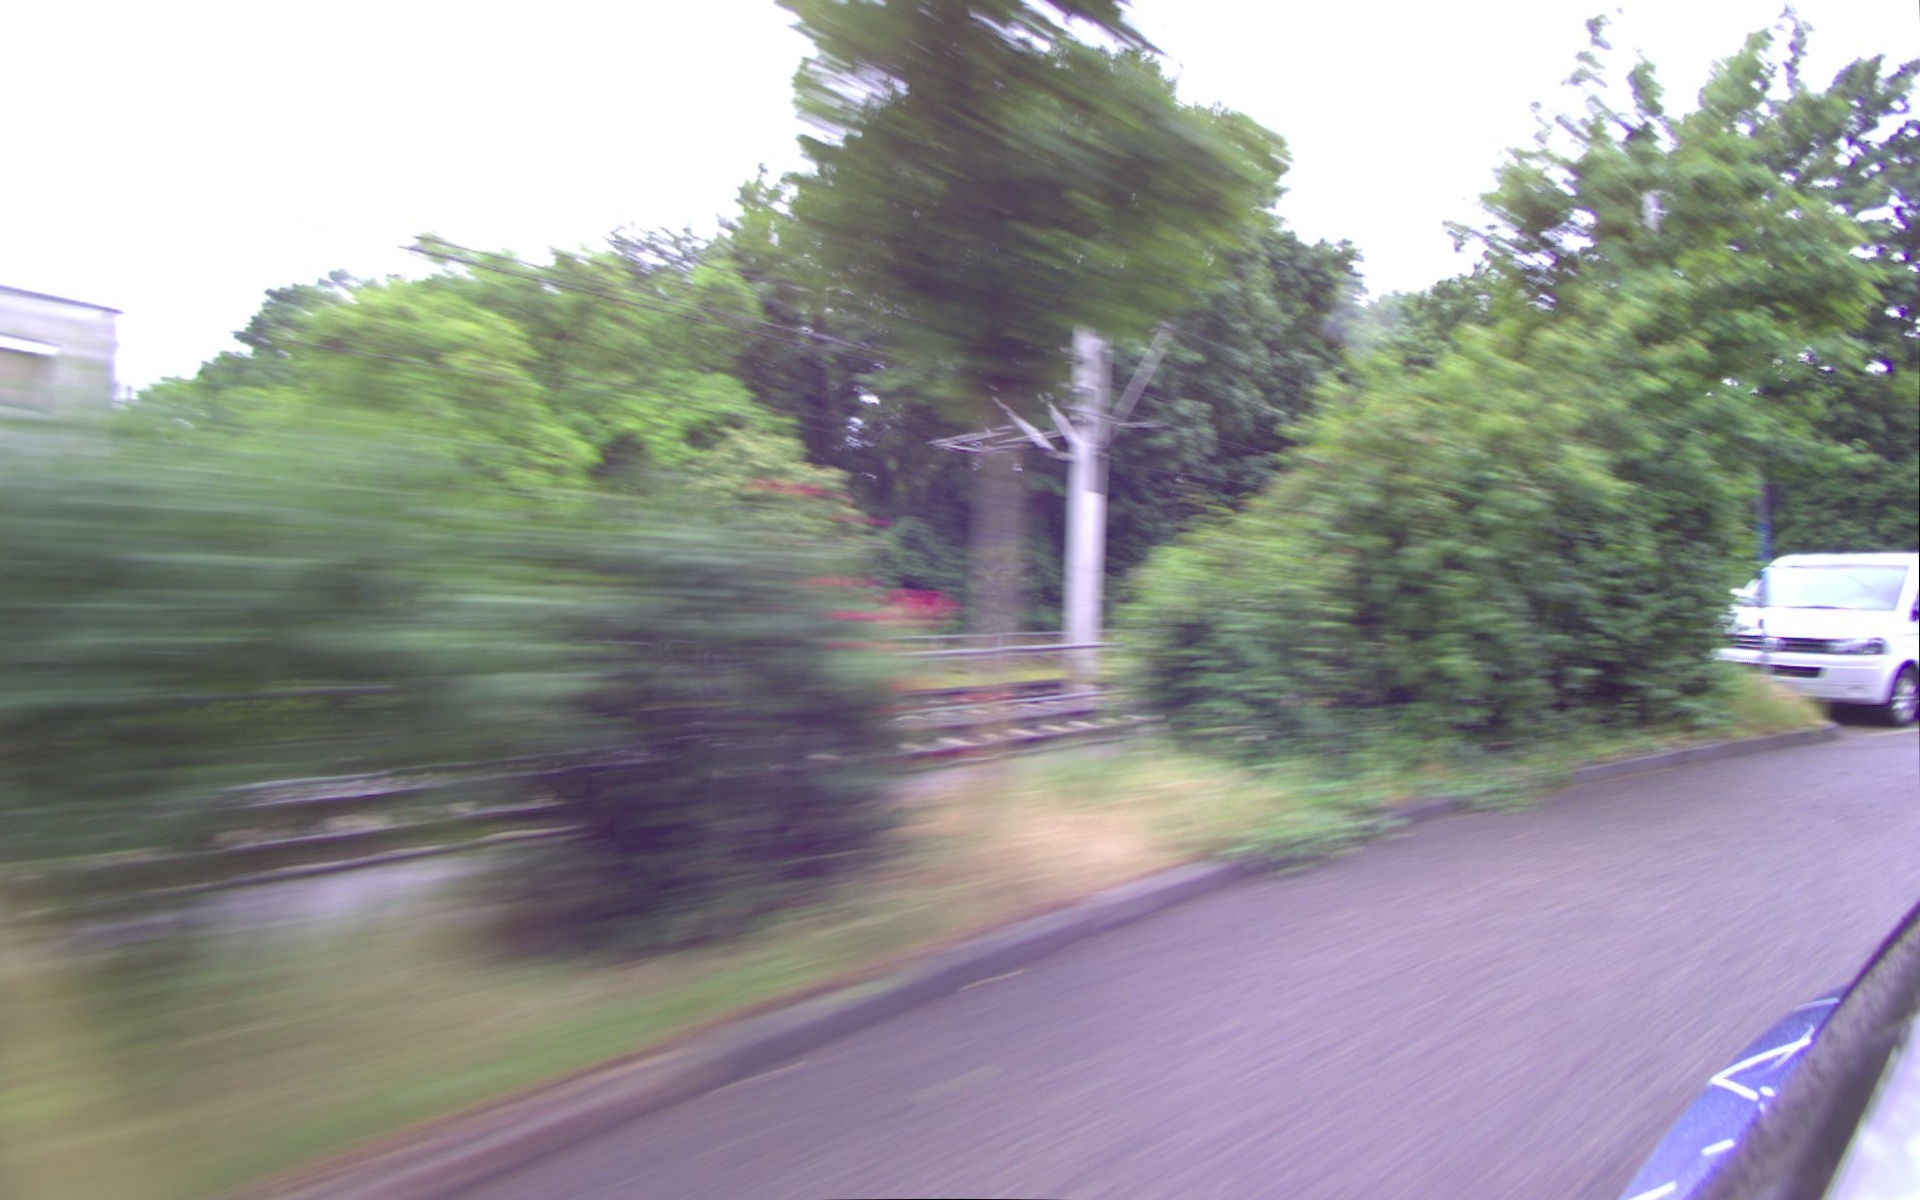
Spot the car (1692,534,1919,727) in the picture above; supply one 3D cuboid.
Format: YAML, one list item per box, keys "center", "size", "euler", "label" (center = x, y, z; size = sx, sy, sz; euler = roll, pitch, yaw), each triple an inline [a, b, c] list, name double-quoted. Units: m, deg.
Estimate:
- center: [11.459, 0.267, 12.527]
  size: [4.594, 2.039, 1.886]
  euler: [-1, 1, -25]
  label: "car"
